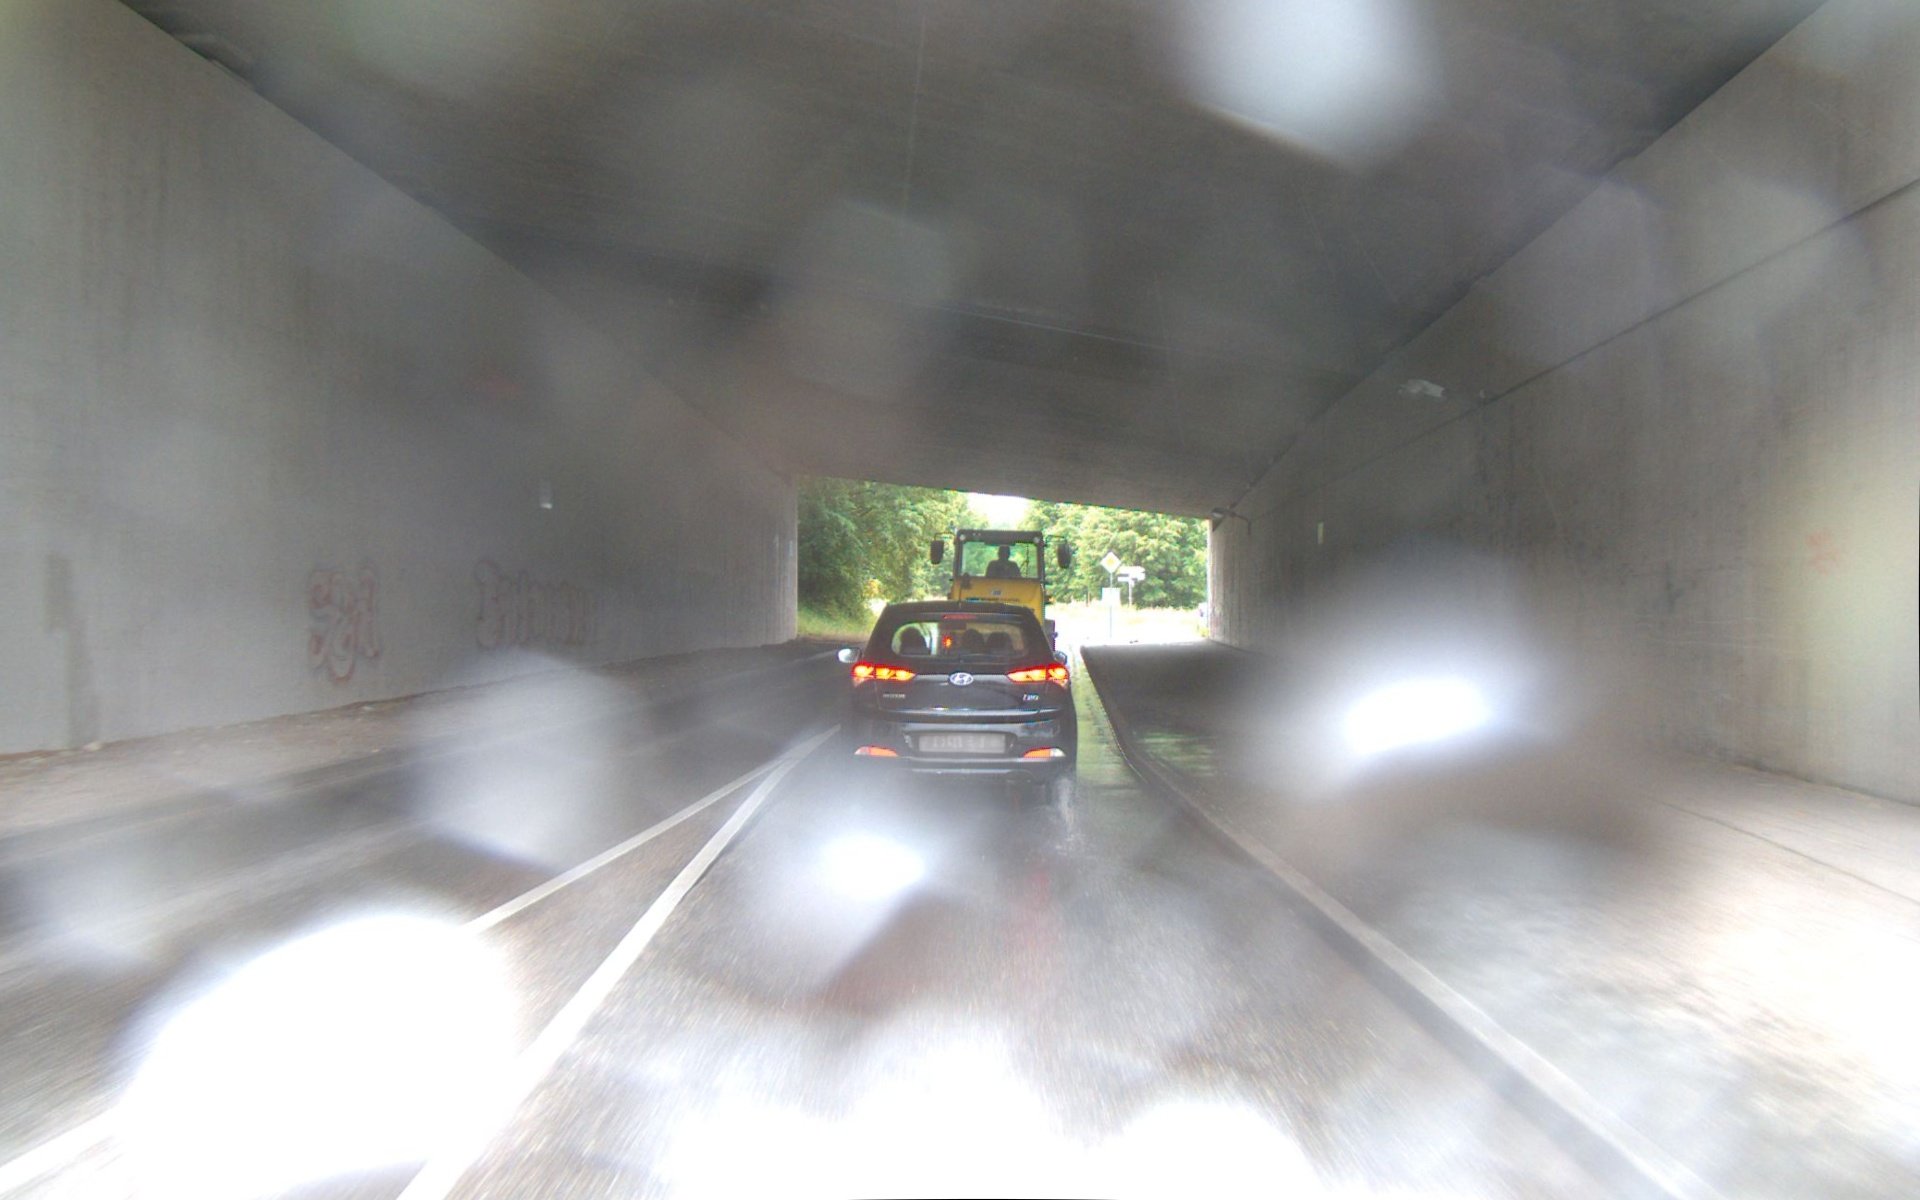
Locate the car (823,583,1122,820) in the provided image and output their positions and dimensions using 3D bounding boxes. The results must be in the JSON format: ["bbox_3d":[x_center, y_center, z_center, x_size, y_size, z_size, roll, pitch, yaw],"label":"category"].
[{"bbox_3d":[0.088,0.679,13.078,1.953,1.513,4.000,2,0,0],"label":"car"}]

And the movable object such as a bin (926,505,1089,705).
[{"bbox_3d":[0.672,0.067,26.503,2.200,2.716,6.626,2,0,0],"label":"movable object such as a bin"}]
